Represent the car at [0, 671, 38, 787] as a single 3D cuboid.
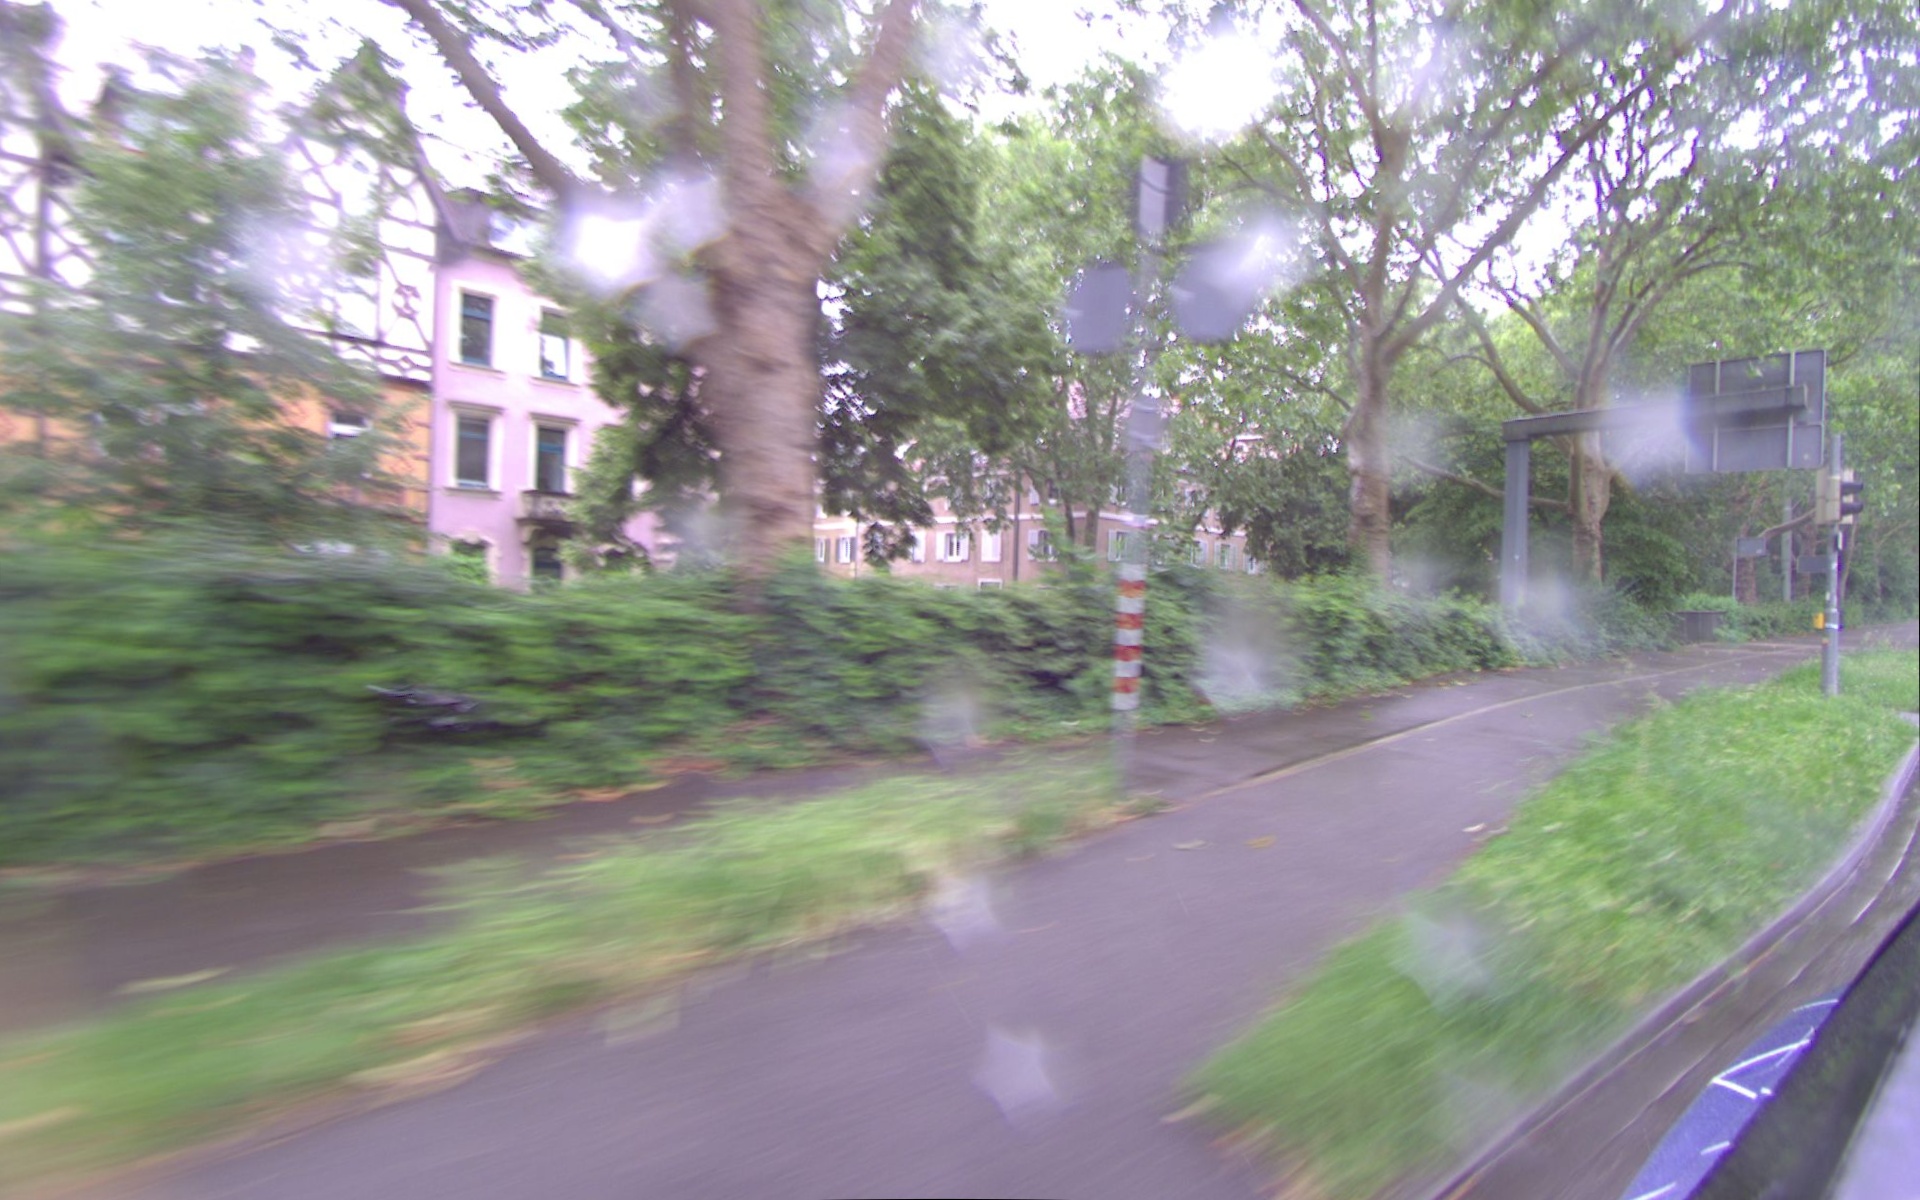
[{"bbox_3d":[-14.324,1.629,13.022,3.748,1.433,1.909,3,1,15],"label":"car"}]
